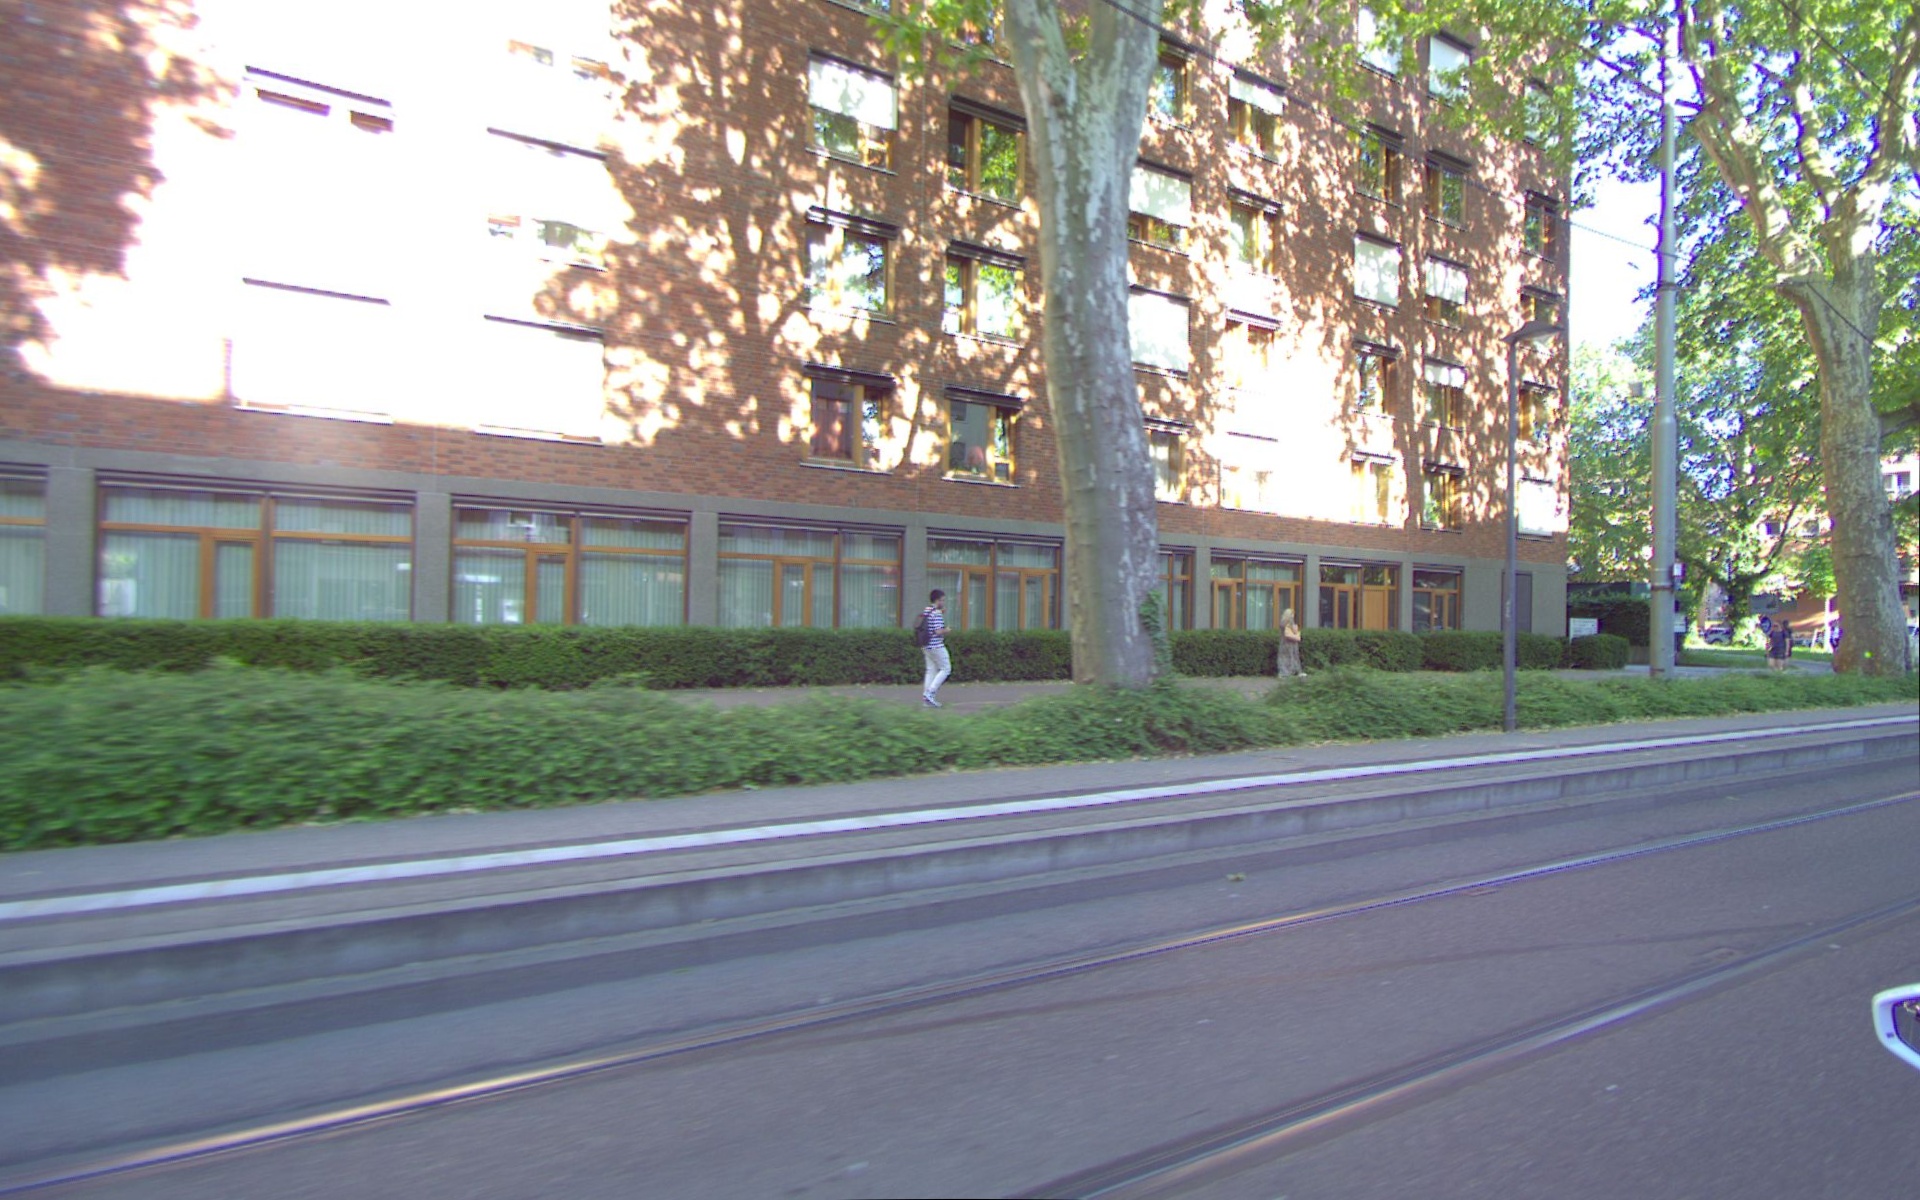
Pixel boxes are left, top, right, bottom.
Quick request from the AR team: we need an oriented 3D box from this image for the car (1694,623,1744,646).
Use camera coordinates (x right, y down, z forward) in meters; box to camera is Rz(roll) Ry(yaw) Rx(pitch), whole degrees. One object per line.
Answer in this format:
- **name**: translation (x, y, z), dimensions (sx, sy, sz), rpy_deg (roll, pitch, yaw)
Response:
- **car**: translation (57.823, 2.658, 76.548), dimensions (4.443, 1.639, 1.930), rpy_deg (2, 0, -38)

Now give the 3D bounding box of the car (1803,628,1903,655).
- **car**: translation (56.454, 2.587, 63.565), dimensions (1.807, 1.469, 4.434), rpy_deg (2, 0, -37)

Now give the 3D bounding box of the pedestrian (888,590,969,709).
- **pedestrian**: translation (-0.485, 0.742, 15.403), dimensions (0.961, 1.767, 0.760), rpy_deg (2, 0, -30)

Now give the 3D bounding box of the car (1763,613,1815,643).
- **car**: translation (59.920, 2.034, 72.597), dimensions (4.879, 2.030, 1.977), rpy_deg (2, 0, -40)

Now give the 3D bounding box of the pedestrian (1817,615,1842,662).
- **pedestrian**: translation (32.580, 1.449, 37.642), dimensions (0.523, 1.728, 0.591), rpy_deg (2, 0, 29)

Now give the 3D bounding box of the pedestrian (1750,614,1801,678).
- **pedestrian**: translation (22.069, 1.234, 27.199), dimensions (0.957, 1.694, 0.735), rpy_deg (2, 0, -29)

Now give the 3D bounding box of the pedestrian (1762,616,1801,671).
- **pedestrian**: translation (26.047, 1.386, 31.857), dimensions (0.770, 1.695, 0.706), rpy_deg (2, 0, -30)

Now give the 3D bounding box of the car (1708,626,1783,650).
- **car**: translation (53.391, 2.553, 68.312), dimensions (1.672, 1.469, 3.683), rpy_deg (2, 0, -35)

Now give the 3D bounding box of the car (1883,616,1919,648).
- **car**: translation (63.685, 2.126, 67.385), dimensions (4.879, 2.030, 1.977), rpy_deg (2, 0, -40)

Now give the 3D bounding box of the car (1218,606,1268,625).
- **car**: translation (25.540, 1.400, 90.612), dimensions (4.050, 1.639, 1.885), rpy_deg (2, 0, -26)

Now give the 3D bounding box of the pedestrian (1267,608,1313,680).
- **pedestrian**: translation (7.552, 0.995, 22.994), dimensions (0.707, 1.594, 0.661), rpy_deg (2, 0, -30)
